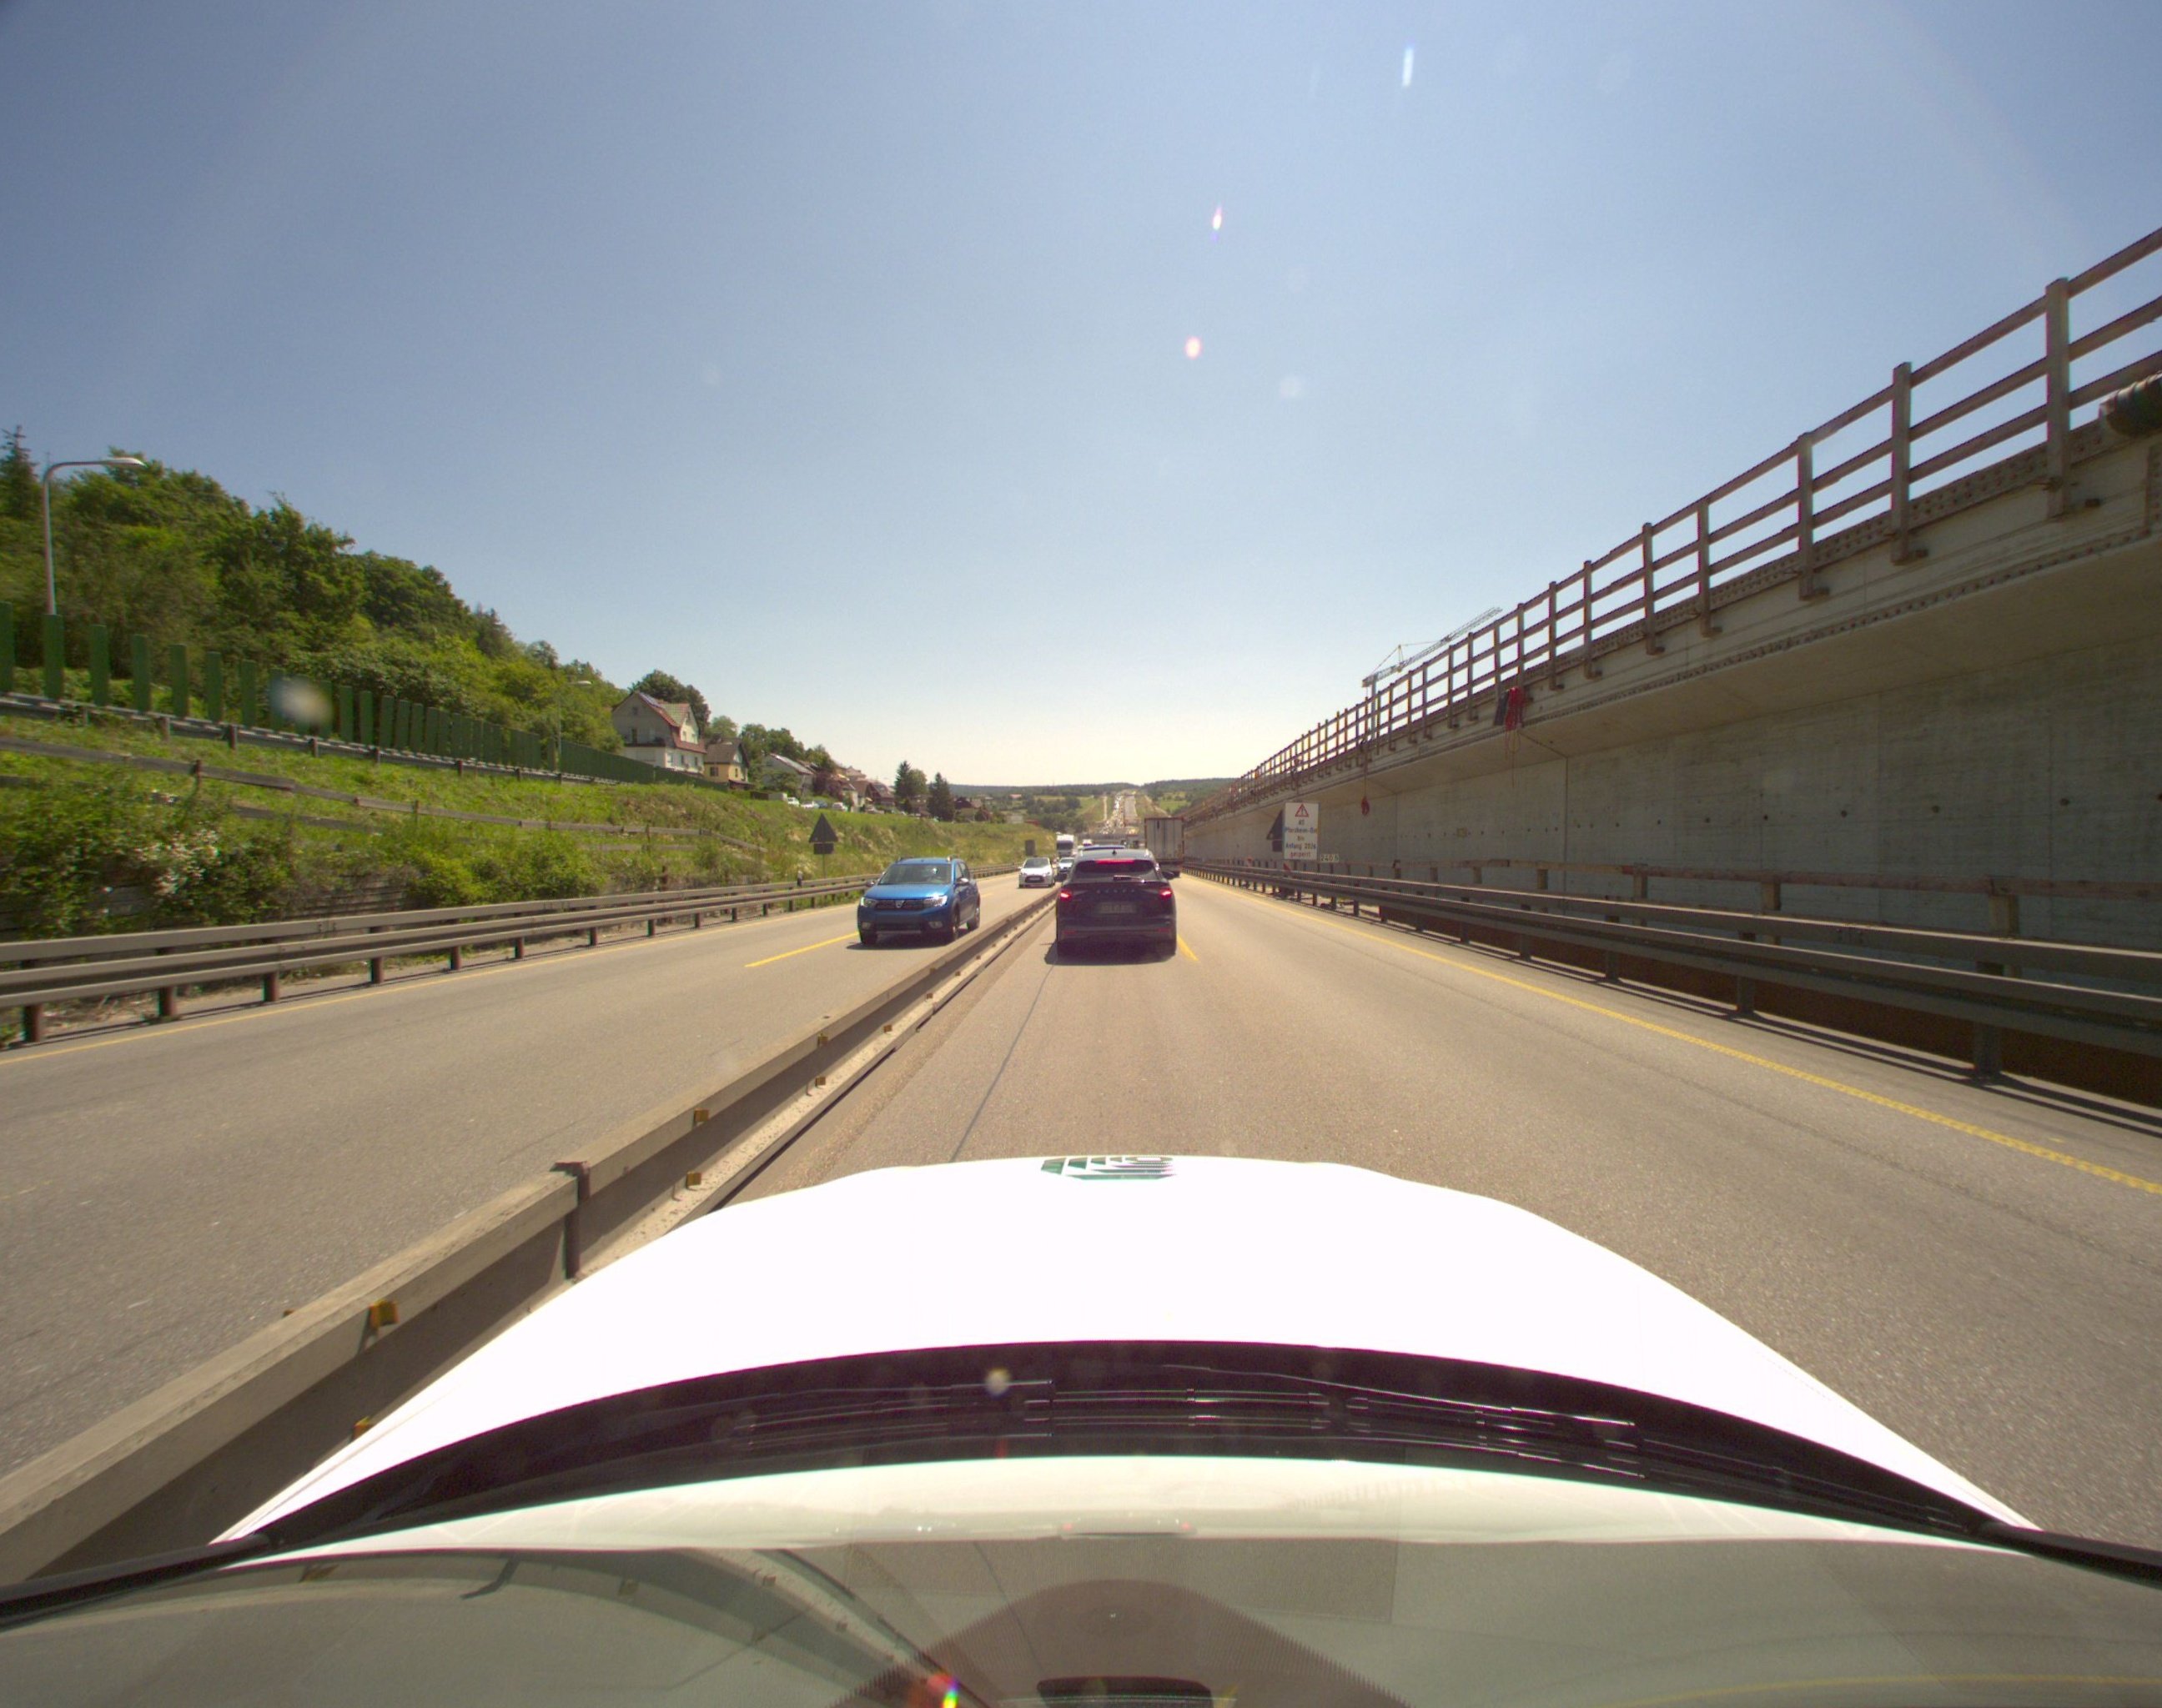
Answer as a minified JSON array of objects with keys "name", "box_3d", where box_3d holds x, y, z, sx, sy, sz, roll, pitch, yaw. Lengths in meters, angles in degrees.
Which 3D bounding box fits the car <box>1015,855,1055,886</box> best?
[{"name":"car","box_3d":[-2.310,0.834,41.915,1.760,1.486,3.866,-1,0,1]}]

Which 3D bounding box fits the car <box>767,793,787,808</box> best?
[{"name":"car","box_3d":[-33.403,-5.847,89.475,1.731,1.398,3.781,1,0,-16]}]

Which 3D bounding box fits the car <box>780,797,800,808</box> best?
[{"name":"car","box_3d":[-33.700,-5.915,94.324,1.277,1.039,3.270,-1,0,-4]}]

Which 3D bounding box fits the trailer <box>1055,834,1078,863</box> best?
[{"name":"trailer","box_3d":[-2.295,-0.775,125.025,3.213,4.158,13.395,-1,0,-2]}]

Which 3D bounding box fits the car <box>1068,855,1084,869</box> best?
[{"name":"car","box_3d":[-0.559,0.879,92.444,1.693,1.561,4.105,-1,0,2]}]

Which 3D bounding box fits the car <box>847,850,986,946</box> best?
[{"name":"car","box_3d":[-3.039,0.754,15.847,1.757,1.610,3.893,-1,0,2]}]

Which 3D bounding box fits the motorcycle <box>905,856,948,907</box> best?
[{"name":"motorcycle","box_3d":[-5.042,0.852,26.758,0.787,1.551,2.622,0,1,2]}]

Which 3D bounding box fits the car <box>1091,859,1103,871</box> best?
[{"name":"car","box_3d":[2.581,1.664,127.350,1.768,1.820,4.436,-1,0,2]}]

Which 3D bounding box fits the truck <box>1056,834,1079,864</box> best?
[{"name":"truck","box_3d":[-2.070,-0.624,118.766,3.173,4.238,6.478,-1,-1,-3]}]

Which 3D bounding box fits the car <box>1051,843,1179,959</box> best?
[{"name":"car","box_3d":[0.522,0.673,13.354,1.776,1.597,3.756,-1,0,1]}]

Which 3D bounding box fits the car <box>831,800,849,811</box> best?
[{"name":"car","box_3d":[-35.811,-7.239,121.176,1.993,1.320,3.988,3,-1,-9]}]

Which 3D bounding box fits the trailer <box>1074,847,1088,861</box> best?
[{"name":"trailer","box_3d":[0.032,0.040,166.847,2.474,2.613,5.871,-2,-1,3]}]

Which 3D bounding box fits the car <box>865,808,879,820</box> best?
[{"name":"car","box_3d":[-36.155,-6.893,140.888,1.924,1.728,3.989,-1,0,-8]}]

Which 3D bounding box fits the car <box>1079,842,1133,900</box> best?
[{"name":"car","box_3d":[0.839,0.592,29.181,1.744,1.895,3.754,1,0,0]}]

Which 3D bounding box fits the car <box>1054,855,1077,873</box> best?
[{"name":"car","box_3d":[-1.259,0.813,67.549,1.685,1.486,3.750,-1,0,1]}]

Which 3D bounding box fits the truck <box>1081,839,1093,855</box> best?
[{"name":"truck","box_3d":[1.689,-2.017,220.170,2.742,4.227,8.106,0,0,3]}]

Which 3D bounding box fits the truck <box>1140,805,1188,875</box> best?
[{"name":"truck","box_3d":[5.867,-0.813,59.269,2.834,4.615,11.818,0,-1,3]}]
